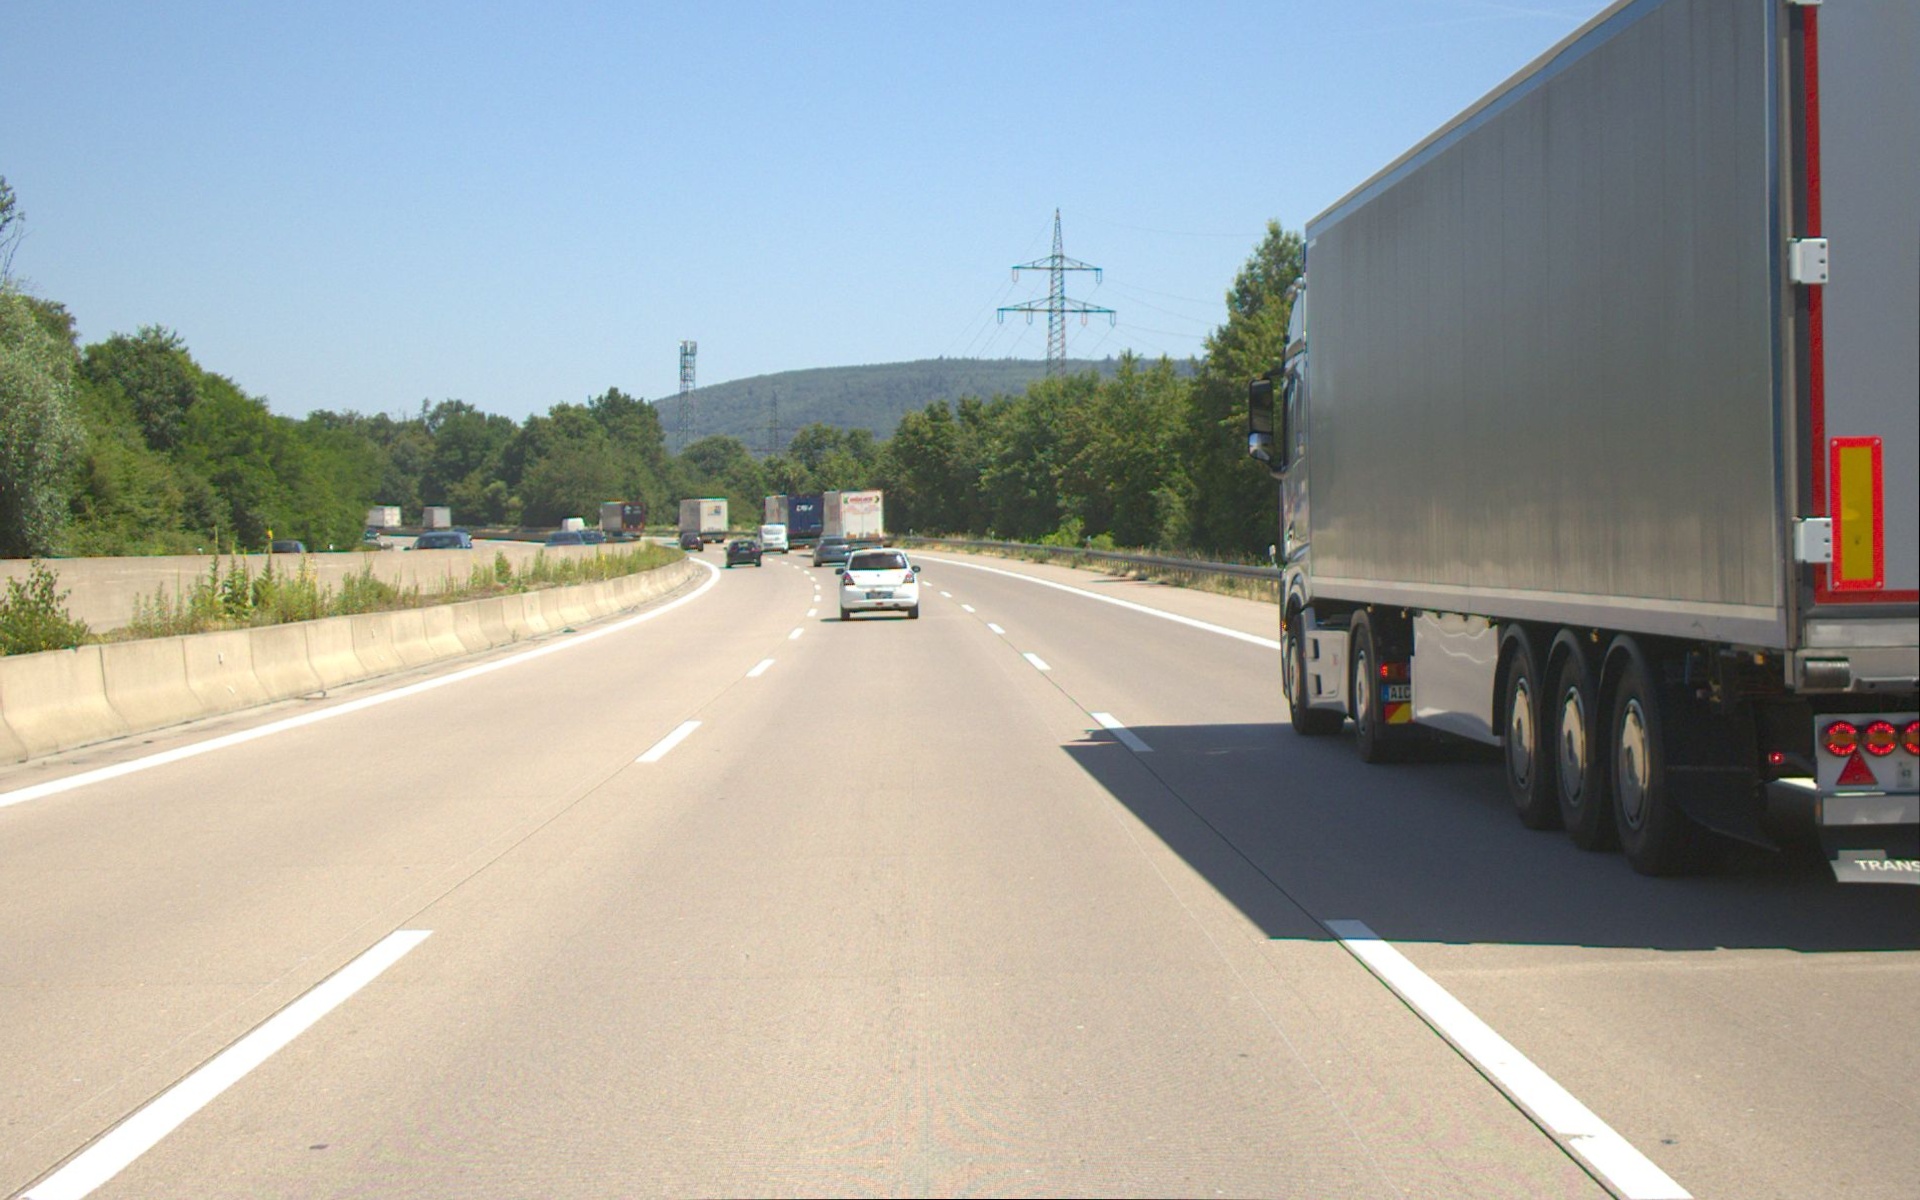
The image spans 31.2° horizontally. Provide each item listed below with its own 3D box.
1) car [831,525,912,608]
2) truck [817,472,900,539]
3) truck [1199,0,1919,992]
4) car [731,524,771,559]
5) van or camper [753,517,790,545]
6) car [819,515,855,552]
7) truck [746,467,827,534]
[{"bbox_3d":[-1.921,-0.735,74.276,1.641,1.656,3.361,2,2,-2],"label":"car"},{"bbox_3d":[-6.430,-5.882,214.393,3.819,3.876,14.156,-3,2,-7],"label":"truck"},{"bbox_3d":[4.203,-1.741,21.420,3.577,5.767,18.249,1,2,-1],"label":"truck"},{"bbox_3d":[-10.910,-3.069,179.667,2.022,1.695,4.001,3,1,-3],"label":"car"},{"bbox_3d":[-12.696,-4.655,231.834,1.867,1.831,4.001,-3,2,-11],"label":"van or camper"},{"bbox_3d":[-6.108,-3.314,170.015,1.610,1.719,3.574,-2,2,-4],"label":"car"},{"bbox_3d":[-13.141,-7.442,258.980,3.906,4.725,14.054,-3,2,-11],"label":"truck"}]
